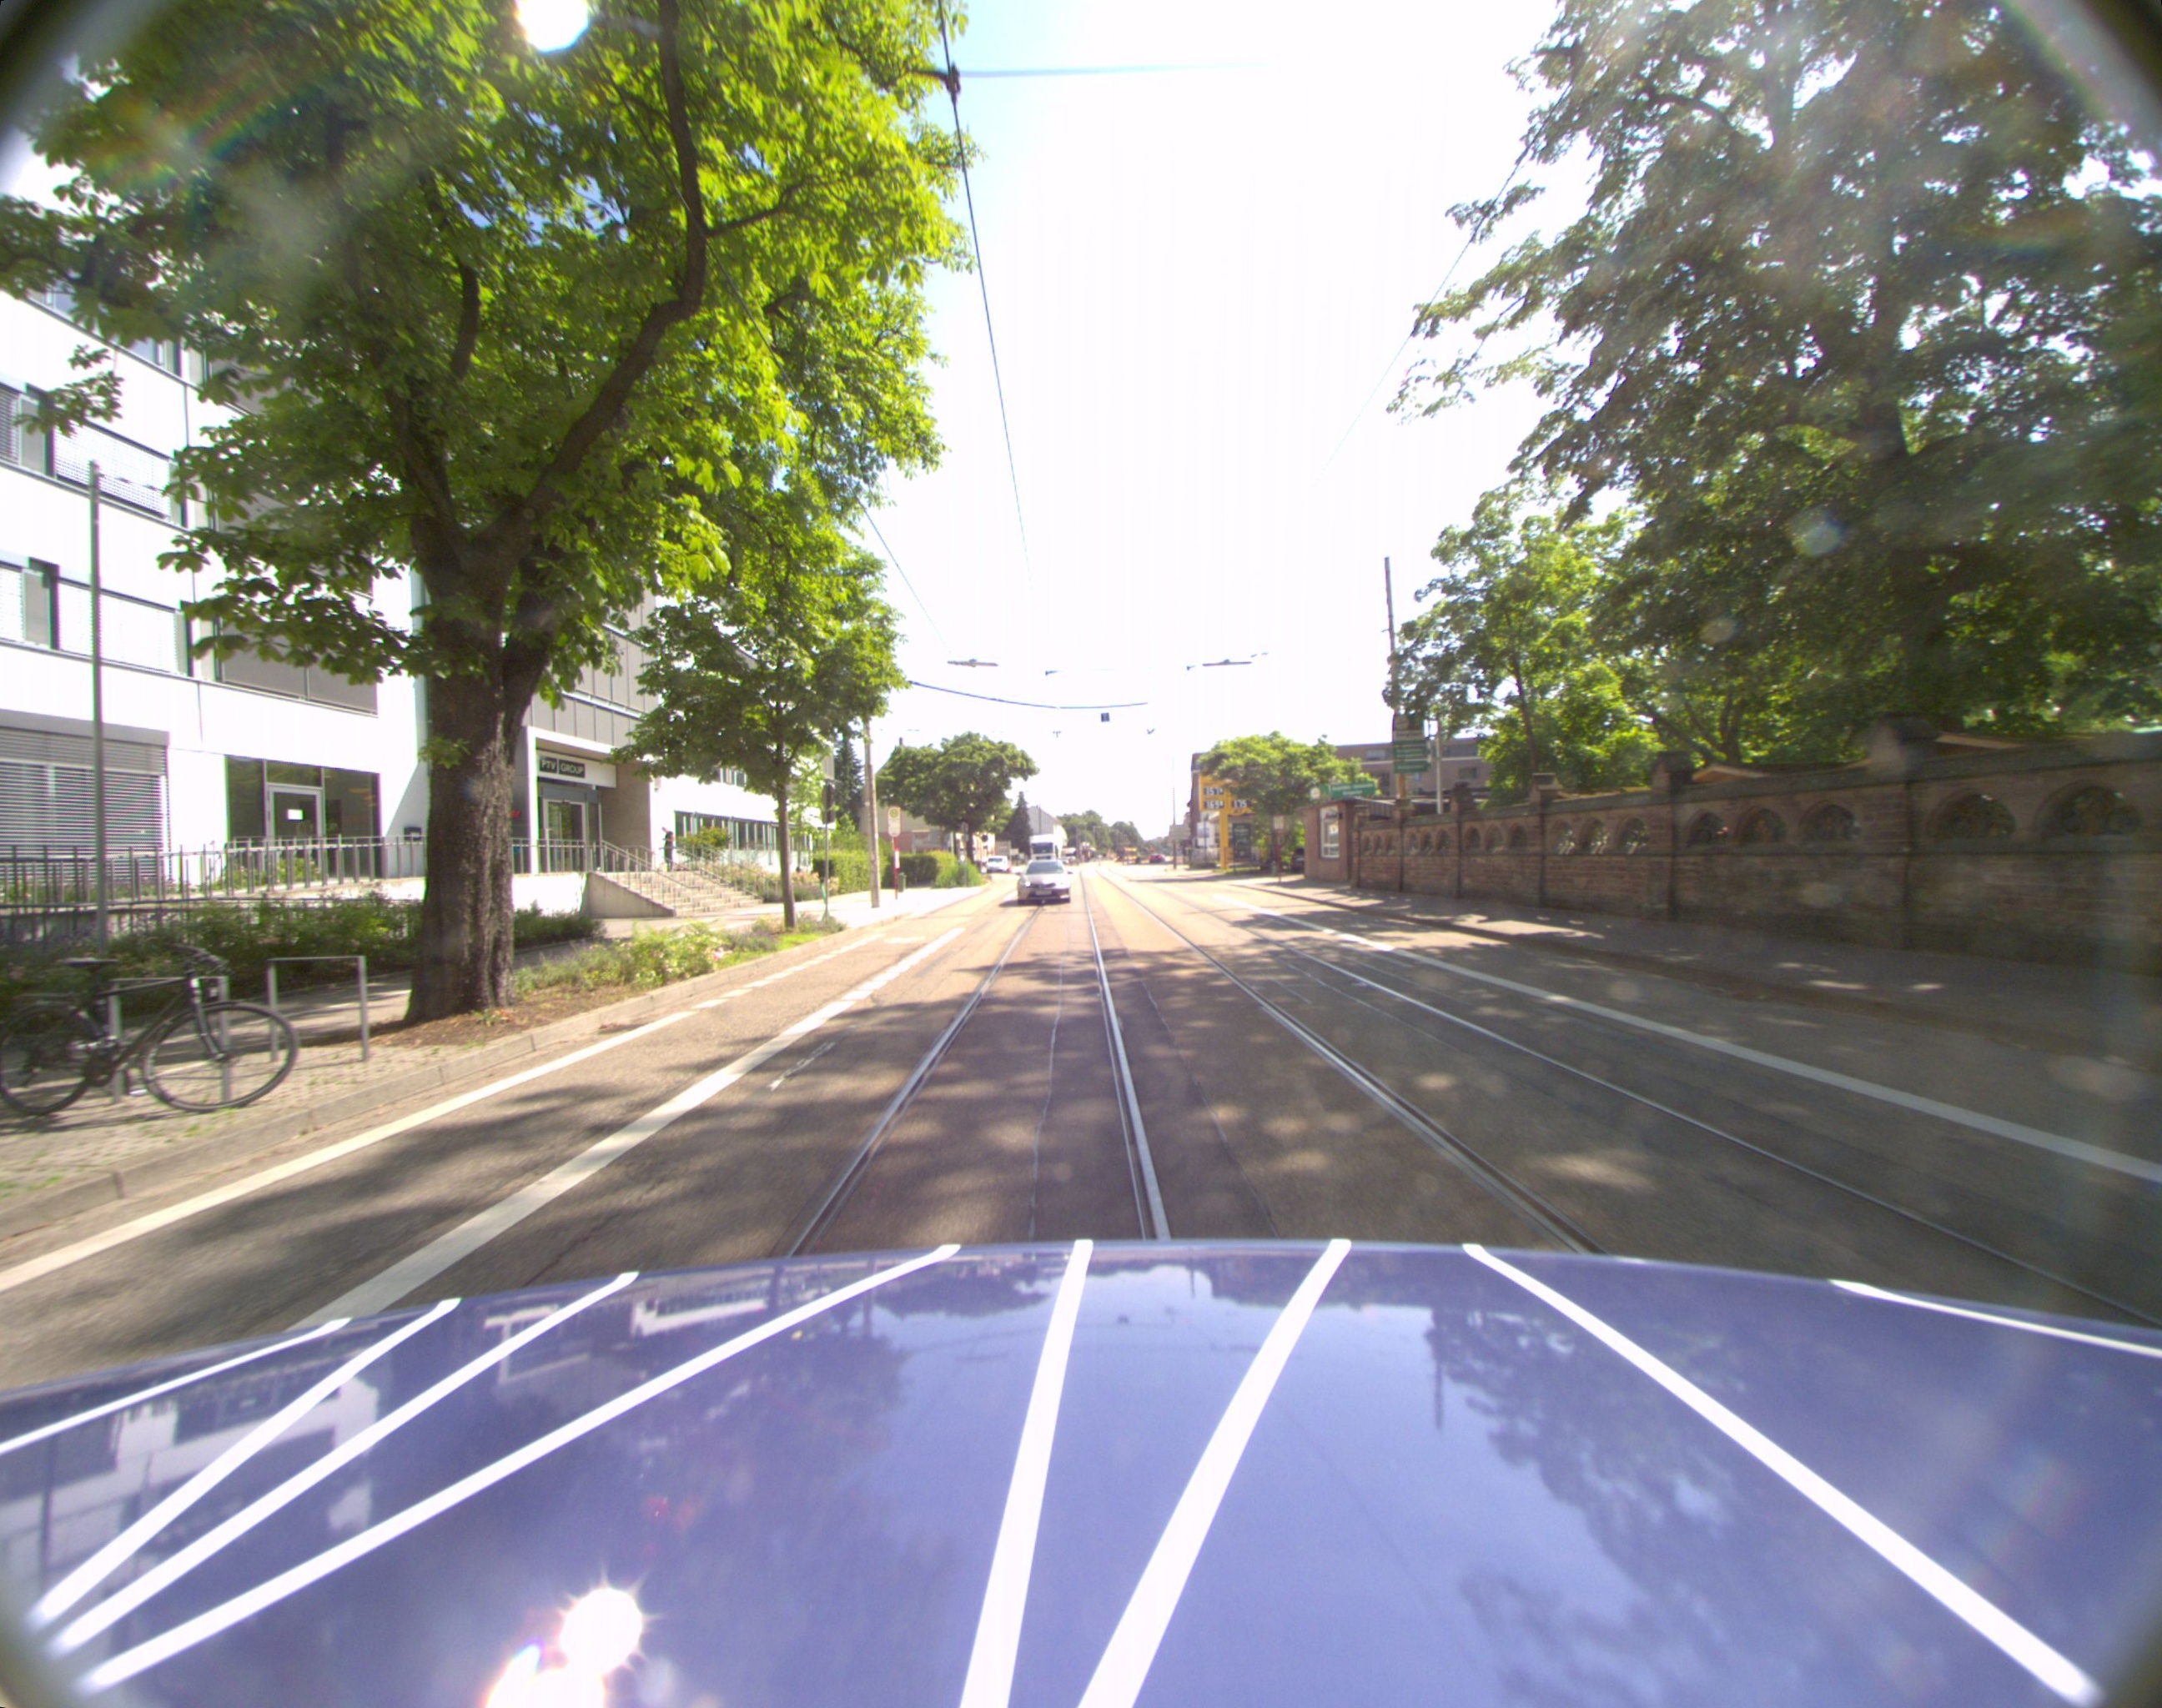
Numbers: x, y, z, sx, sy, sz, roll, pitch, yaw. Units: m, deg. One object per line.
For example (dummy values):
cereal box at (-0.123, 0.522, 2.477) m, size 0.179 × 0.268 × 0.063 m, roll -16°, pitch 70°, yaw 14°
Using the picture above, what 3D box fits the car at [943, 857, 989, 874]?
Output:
car at (-10.166, 1.041, 67.329) m, size 3.754 × 1.380 × 1.671 m, roll -2°, pitch 0°, yaw 1°

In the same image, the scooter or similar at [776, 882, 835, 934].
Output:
scooter or similar at (-6.459, 1.254, 17.829) m, size 1.145 × 1.147 × 0.493 m, roll -2°, pitch 1°, yaw 6°

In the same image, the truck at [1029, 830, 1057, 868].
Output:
truck at (-3.983, -0.480, 81.326) m, size 2.657 × 3.772 × 7.862 m, roll -2°, pitch 0°, yaw -1°

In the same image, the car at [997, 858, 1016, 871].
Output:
car at (-8.826, 1.268, 90.311) m, size 1.726 × 1.435 × 4.312 m, roll 0°, pitch 0°, yaw 0°

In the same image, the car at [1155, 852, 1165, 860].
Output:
car at (16.606, 0.439, 159.992) m, size 1.804 × 1.718 × 4.191 m, roll -3°, pitch 0°, yaw 8°

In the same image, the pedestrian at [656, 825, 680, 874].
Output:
pedestrian at (-14.784, -0.177, 27.191) m, size 0.500 × 1.718 × 0.547 m, roll -2°, pitch 1°, yaw -1°

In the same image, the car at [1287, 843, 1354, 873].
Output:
car at (14.473, 0.205, 45.829) m, size 1.944 × 1.615 × 4.587 m, roll -2°, pitch 0°, yaw 44°

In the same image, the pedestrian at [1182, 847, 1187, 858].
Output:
pedestrian at (16.820, -0.226, 123.465) m, size 0.846 × 1.808 × 0.839 m, roll -2°, pitch 0°, yaw 8°

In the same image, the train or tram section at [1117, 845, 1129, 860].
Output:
train or tram section at (10.526, -0.467, 189.035) m, size 2.685 × 3.460 × 13.342 m, roll -2°, pitch 0°, yaw 4°

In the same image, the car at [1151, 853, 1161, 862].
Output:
car at (13.817, 0.560, 139.451) m, size 1.750 × 1.562 × 3.892 m, roll -1°, pitch 1°, yaw 4°

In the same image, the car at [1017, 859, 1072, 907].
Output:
car at (-1.249, 0.933, 26.450) m, size 1.696 × 1.440 × 4.480 m, roll -2°, pitch 0°, yaw -2°

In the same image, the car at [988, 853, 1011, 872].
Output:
car at (-8.919, 0.873, 83.653) m, size 1.981 × 2.043 × 5.191 m, roll 0°, pitch 0°, yaw 1°

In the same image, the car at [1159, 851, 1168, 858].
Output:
car at (18.627, 0.091, 171.124) m, size 1.715 × 1.613 × 3.581 m, roll -3°, pitch 0°, yaw 8°

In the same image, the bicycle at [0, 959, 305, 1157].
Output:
bicycle at (-6.231, 1.280, 4.886) m, size 1.779 × 1.076 × 0.596 m, roll -1°, pitch 1°, yaw -3°
